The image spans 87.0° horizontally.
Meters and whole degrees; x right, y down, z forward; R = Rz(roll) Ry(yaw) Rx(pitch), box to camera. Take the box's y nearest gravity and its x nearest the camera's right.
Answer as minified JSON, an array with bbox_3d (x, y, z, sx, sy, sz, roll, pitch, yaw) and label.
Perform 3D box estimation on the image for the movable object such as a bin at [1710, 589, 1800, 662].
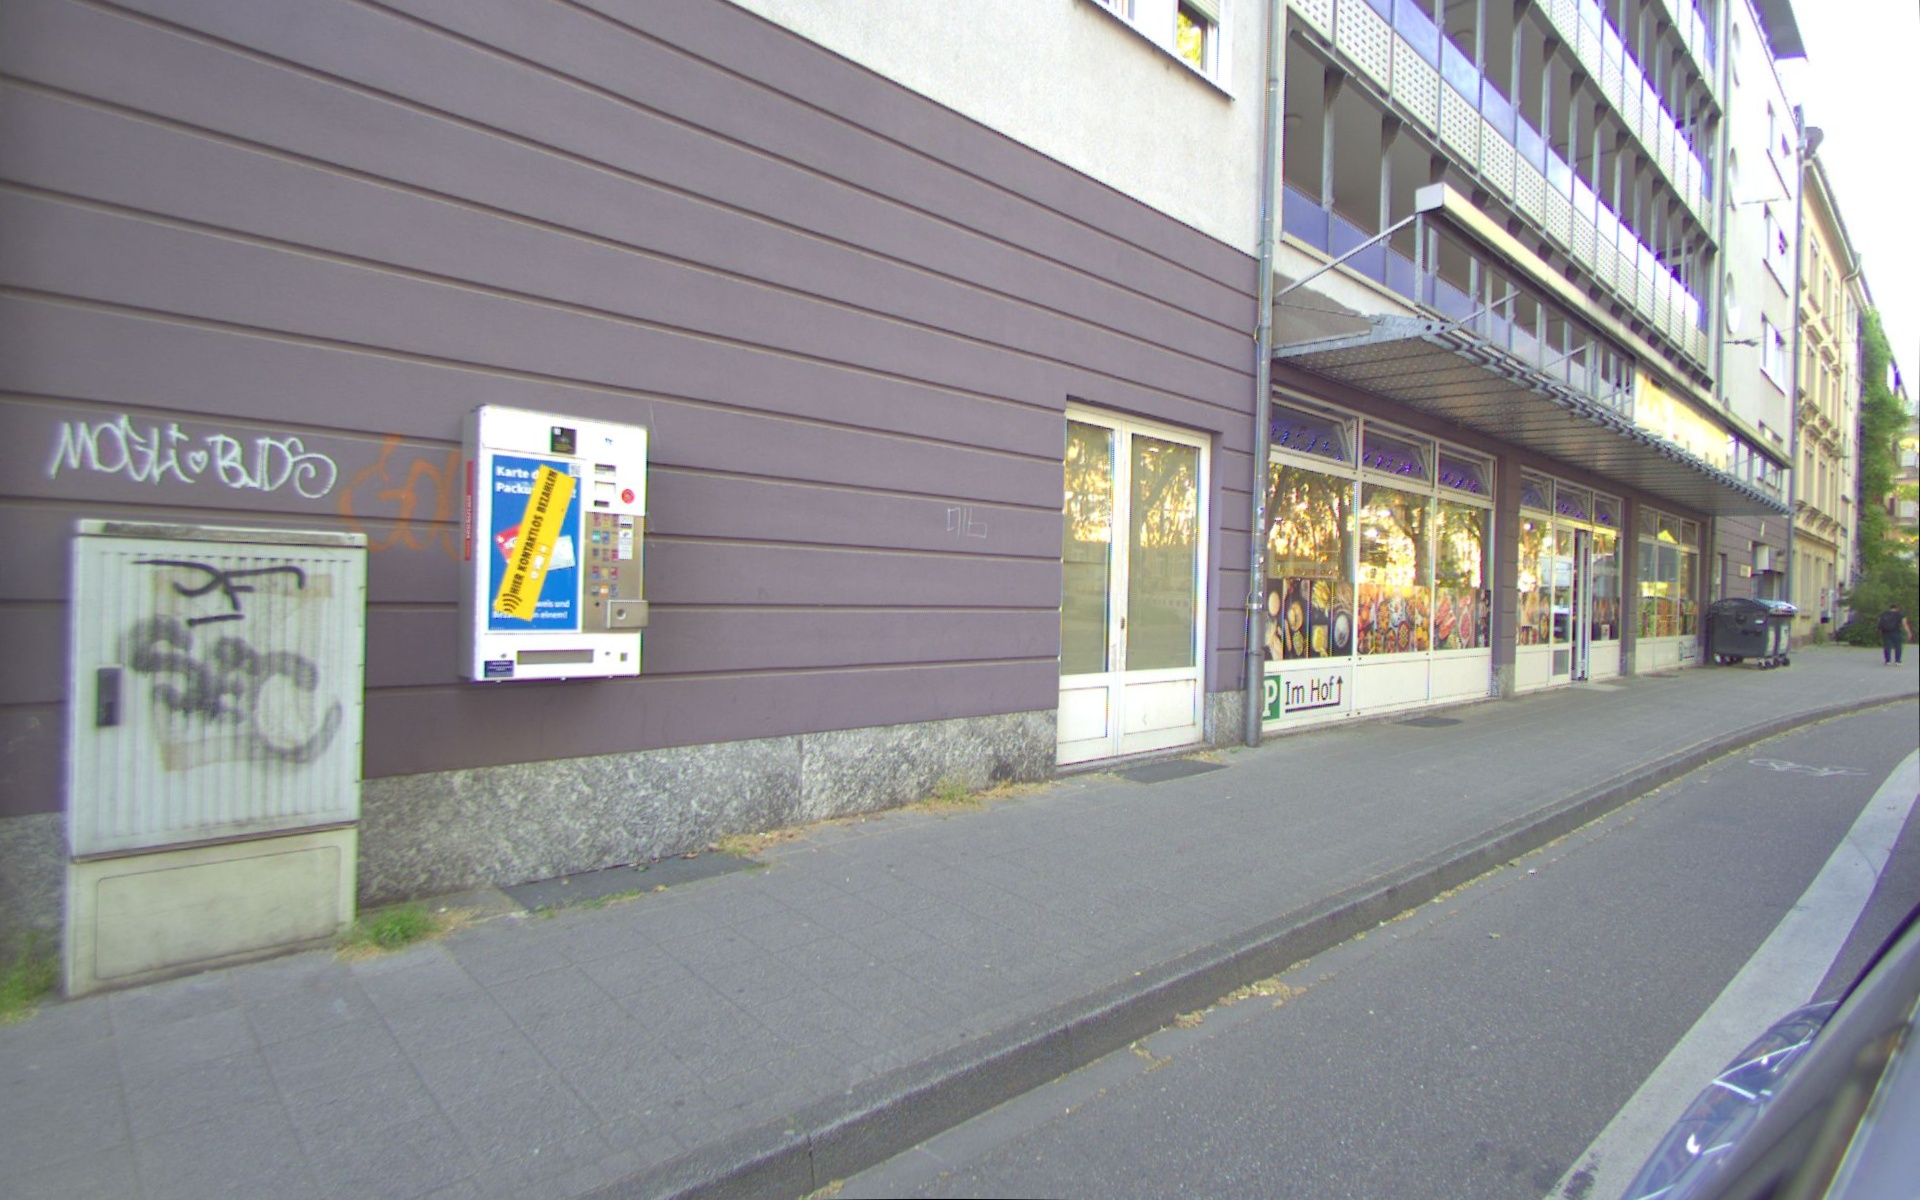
[{"bbox_3d":[16.430,0.506,20.906,1.348,1.427,1.203,1,1,-41],"label":"movable object such as a bin"}]

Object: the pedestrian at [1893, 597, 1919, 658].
[{"bbox_3d":[23.385,0.663,24.905,0.619,1.463,0.540,1,1,-41],"label":"pedestrian"}]

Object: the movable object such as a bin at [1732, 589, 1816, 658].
[{"bbox_3d":[17.879,0.486,22.235,1.348,1.427,1.203,1,1,-41],"label":"movable object such as a bin"}]
